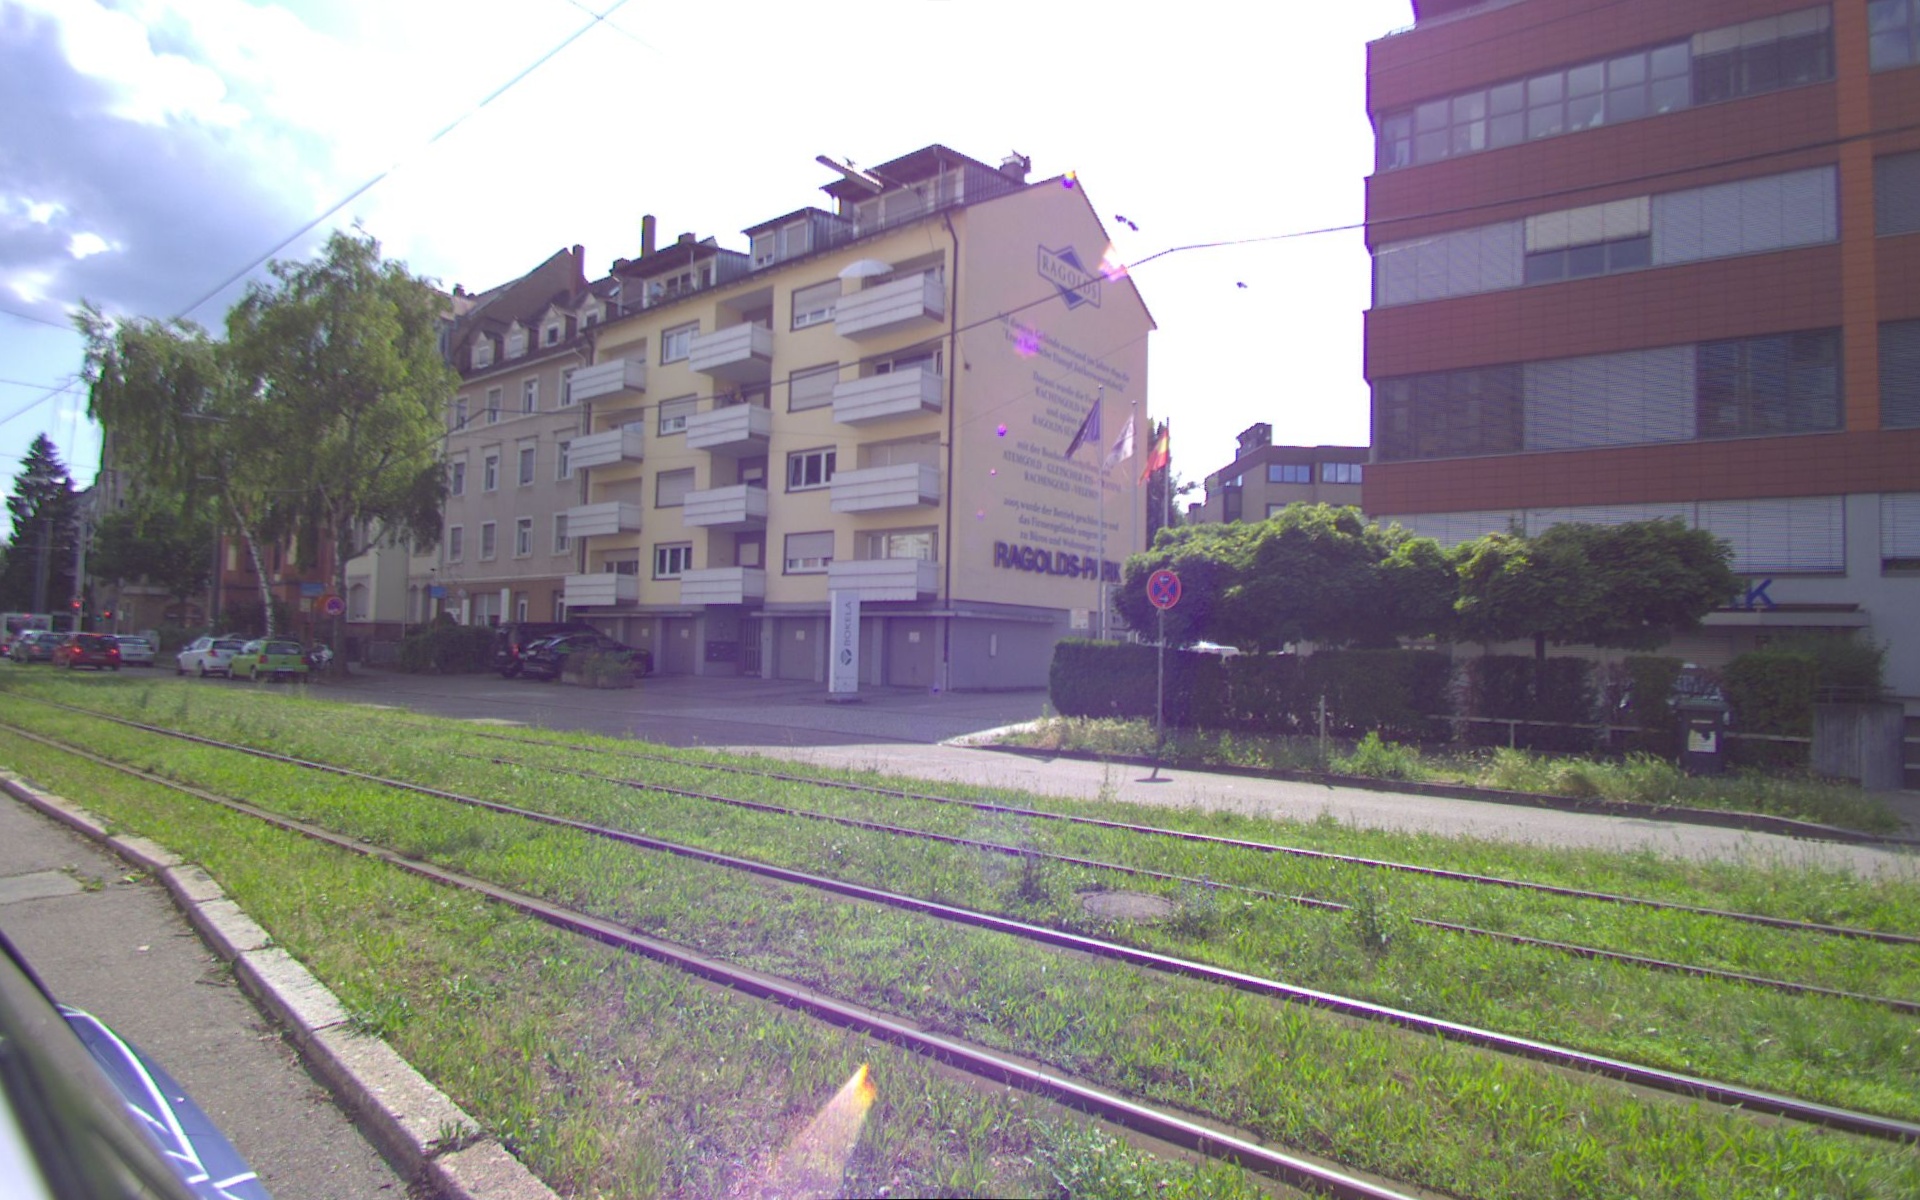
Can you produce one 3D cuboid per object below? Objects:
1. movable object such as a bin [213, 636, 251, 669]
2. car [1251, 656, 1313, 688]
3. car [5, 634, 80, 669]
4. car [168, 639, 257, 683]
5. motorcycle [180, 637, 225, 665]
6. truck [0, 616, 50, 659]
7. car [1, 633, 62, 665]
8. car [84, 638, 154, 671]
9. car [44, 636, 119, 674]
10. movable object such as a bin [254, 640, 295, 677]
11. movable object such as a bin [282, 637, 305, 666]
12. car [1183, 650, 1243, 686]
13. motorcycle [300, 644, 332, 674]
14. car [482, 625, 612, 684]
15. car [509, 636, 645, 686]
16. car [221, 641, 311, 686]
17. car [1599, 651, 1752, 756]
[{"bbox_3d":[-32.485,2.339,45.166,1.519,1.377,0.942,-1,1,38],"label":"movable object such as a bin"},{"bbox_3d":[18.312,4.074,57.678,1.743,1.708,4.007,2,-3,-9],"label":"car"},{"bbox_3d":[-40.285,2.257,44.402,4.508,1.366,1.737,-1,-6,40],"label":"car"},{"bbox_3d":[-28.267,2.284,38.221,4.221,1.489,1.628,-1,-6,39],"label":"car"},{"bbox_3d":[-34.902,2.352,46.614,2.287,1.252,0.893,-1,-4,33],"label":"motorcycle"},{"bbox_3d":[-51.801,2.062,55.488,6.611,2.231,2.161,-2,-5,43],"label":"truck"},{"bbox_3d":[-44.976,2.361,49.007,4.133,1.425,1.736,-1,-6,43],"label":"car"},{"bbox_3d":[-38.631,2.490,46.477,3.992,1.366,1.737,-1,-5,40],"label":"car"},{"bbox_3d":[-34.723,2.164,39.983,3.688,1.397,1.563,-1,-5,39],"label":"car"},{"bbox_3d":[-27.572,2.341,40.701,1.519,1.441,0.942,-1,-2,38],"label":"movable object such as a bin"},{"bbox_3d":[-32.056,2.476,48.657,0.697,1.372,0.667,-1,-4,35],"label":"movable object such as a bin"},{"bbox_3d":[13.715,3.685,55.029,1.743,1.827,4.007,2,-3,-9],"label":"car"},{"bbox_3d":[-24.166,2.212,37.978,1.630,1.050,0.494,0,0,38],"label":"motorcycle"},{"bbox_3d":[-14.987,1.922,36.898,1.936,2.029,3.945,-2,-2,41],"label":"car"},{"bbox_3d":[-13.145,2.054,34.892,1.970,1.614,3.948,-1,-2,38],"label":"car"},{"bbox_3d":[-24.085,2.188,35.084,3.611,1.443,1.578,-1,-5,39],"label":"car"},{"bbox_3d":[12.643,1.746,17.972,1.996,1.608,3.952,-1,-4,35],"label":"car"}]
